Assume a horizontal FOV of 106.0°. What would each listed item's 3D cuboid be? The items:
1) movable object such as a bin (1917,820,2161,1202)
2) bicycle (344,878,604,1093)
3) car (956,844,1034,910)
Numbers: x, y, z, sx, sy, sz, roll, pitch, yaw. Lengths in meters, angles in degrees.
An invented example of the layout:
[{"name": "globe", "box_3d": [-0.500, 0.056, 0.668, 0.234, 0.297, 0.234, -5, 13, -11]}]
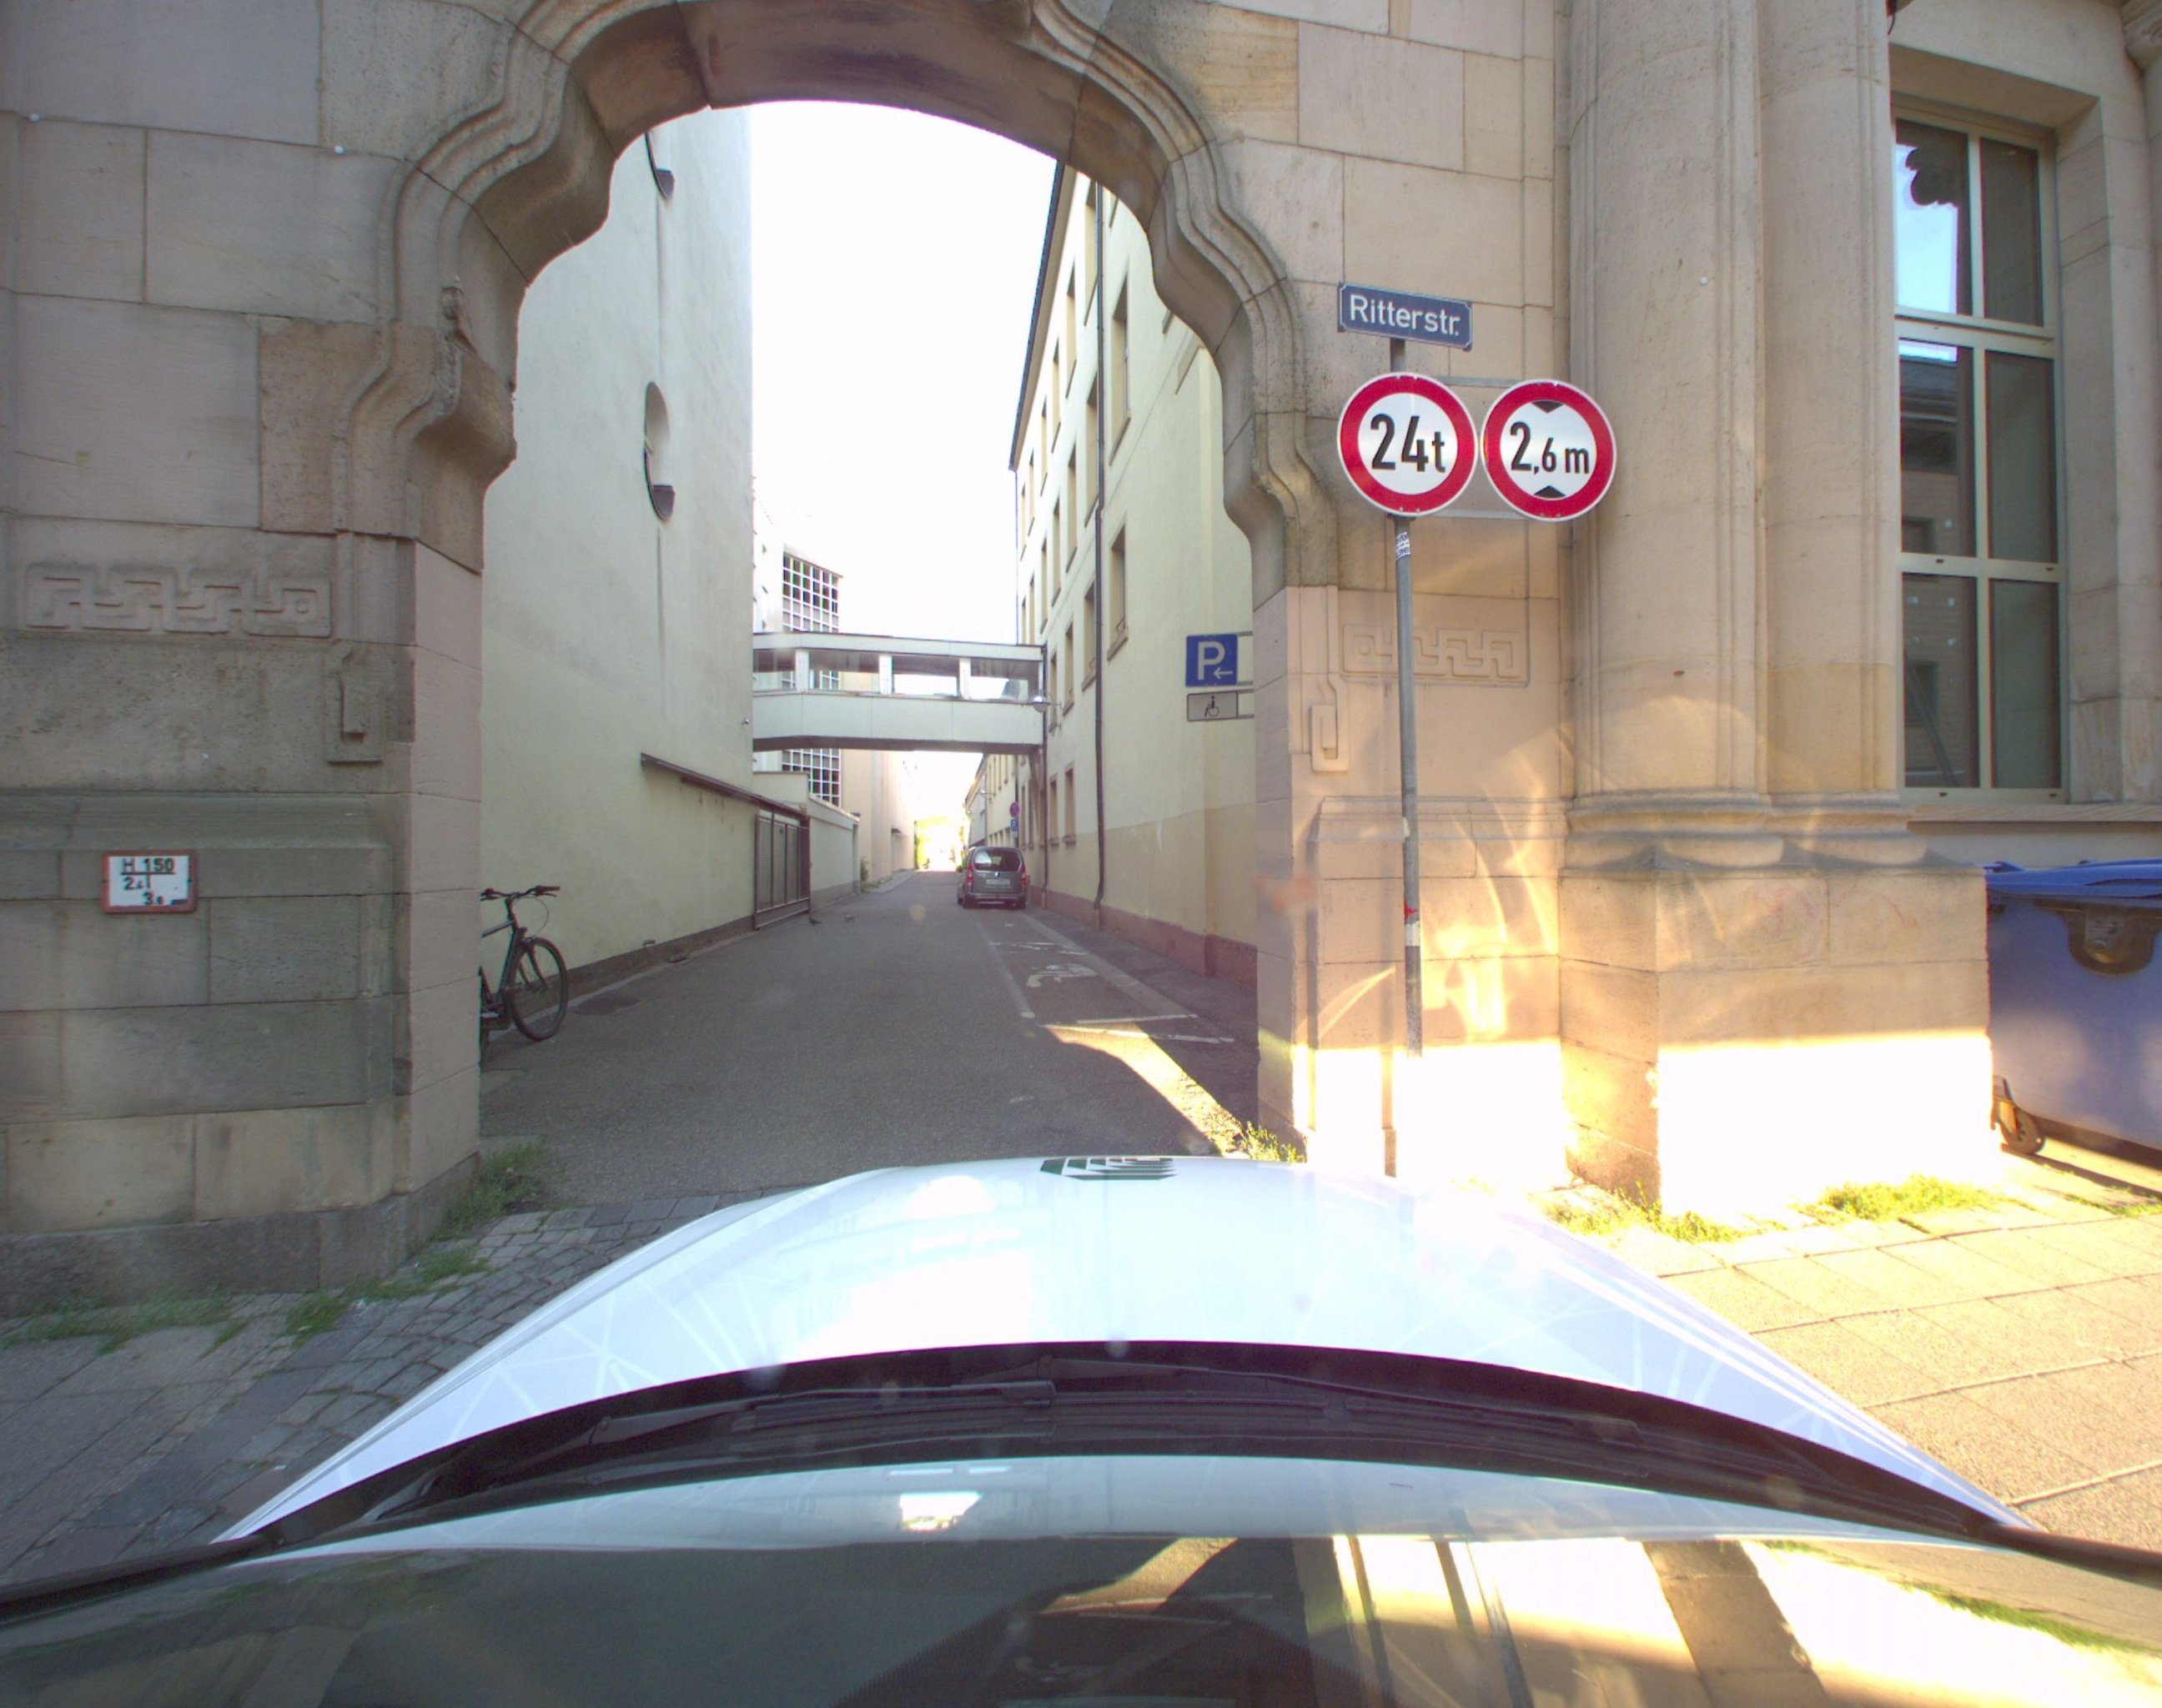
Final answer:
[{"name": "movable object such as a bin", "box_3d": [4.726, 0.592, 3.503, 1.182, 1.474, 1.075, 0, 1, -6]}, {"name": "bicycle", "box_3d": [-3.731, 0.719, 5.206, 0.595, 1.079, 1.750, 0, 0, -10]}, {"name": "car", "box_3d": [-2.708, 0.661, 24.808, 1.857, 1.756, 4.144, 3, -1, -12]}]
